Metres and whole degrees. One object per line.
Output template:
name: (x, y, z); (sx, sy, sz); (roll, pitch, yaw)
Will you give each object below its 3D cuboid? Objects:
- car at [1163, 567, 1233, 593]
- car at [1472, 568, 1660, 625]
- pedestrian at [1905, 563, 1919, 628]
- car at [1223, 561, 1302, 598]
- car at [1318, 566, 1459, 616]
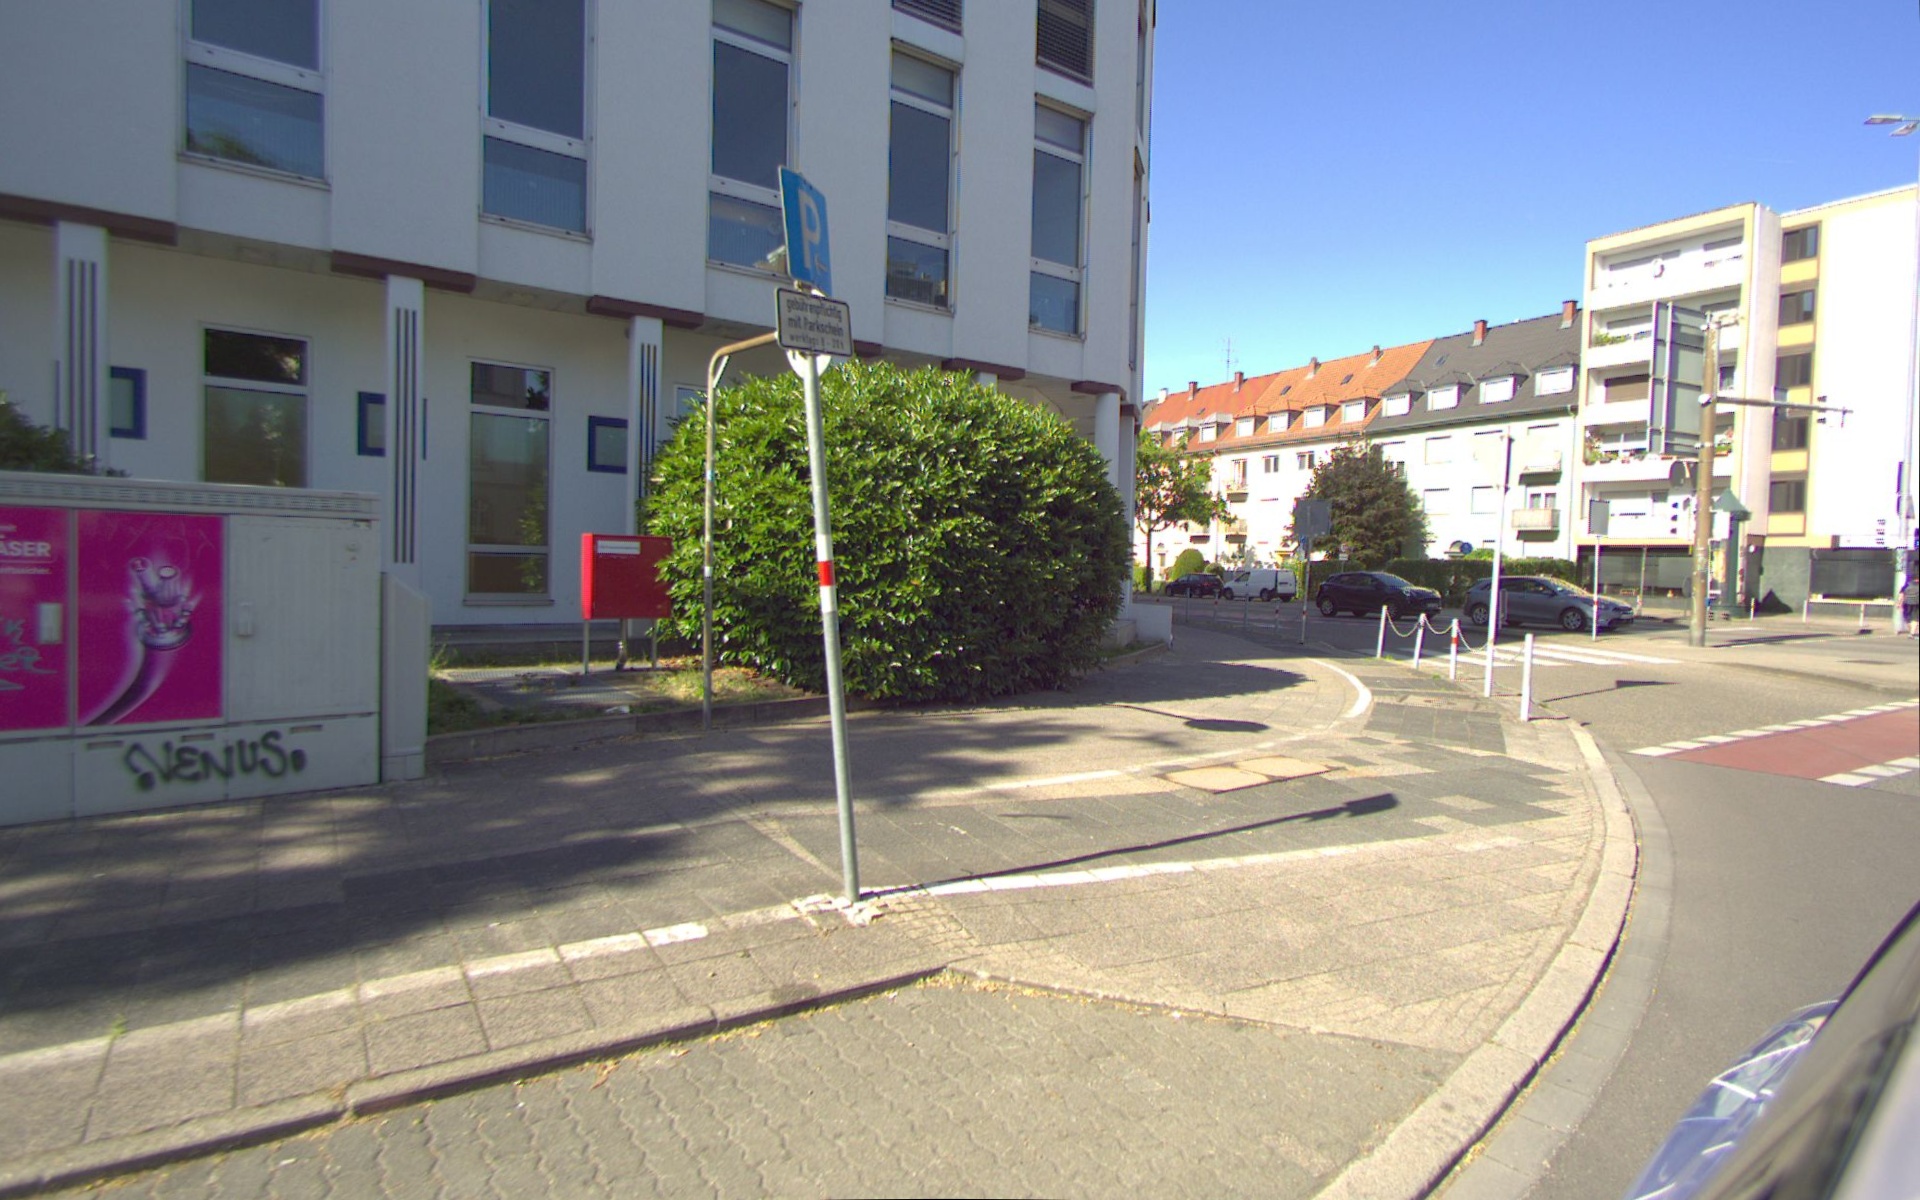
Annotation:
car: (14.166, -1.236, 60.407); (1.769, 1.447, 4.056); (-3, 3, -28)
car: (16.568, -0.155, 27.883); (1.846, 1.425, 4.064); (-1, 2, -28)
pedestrian: (25.155, -0.119, 26.113); (0.788, 1.663, 0.978); (-1, 2, 21)
car: (16.659, -1.149, 55.898); (1.769, 1.880, 4.173); (-3, 3, -28)
car: (13.829, -0.346, 32.903); (1.662, 1.510, 4.081); (-1, 2, -28)
